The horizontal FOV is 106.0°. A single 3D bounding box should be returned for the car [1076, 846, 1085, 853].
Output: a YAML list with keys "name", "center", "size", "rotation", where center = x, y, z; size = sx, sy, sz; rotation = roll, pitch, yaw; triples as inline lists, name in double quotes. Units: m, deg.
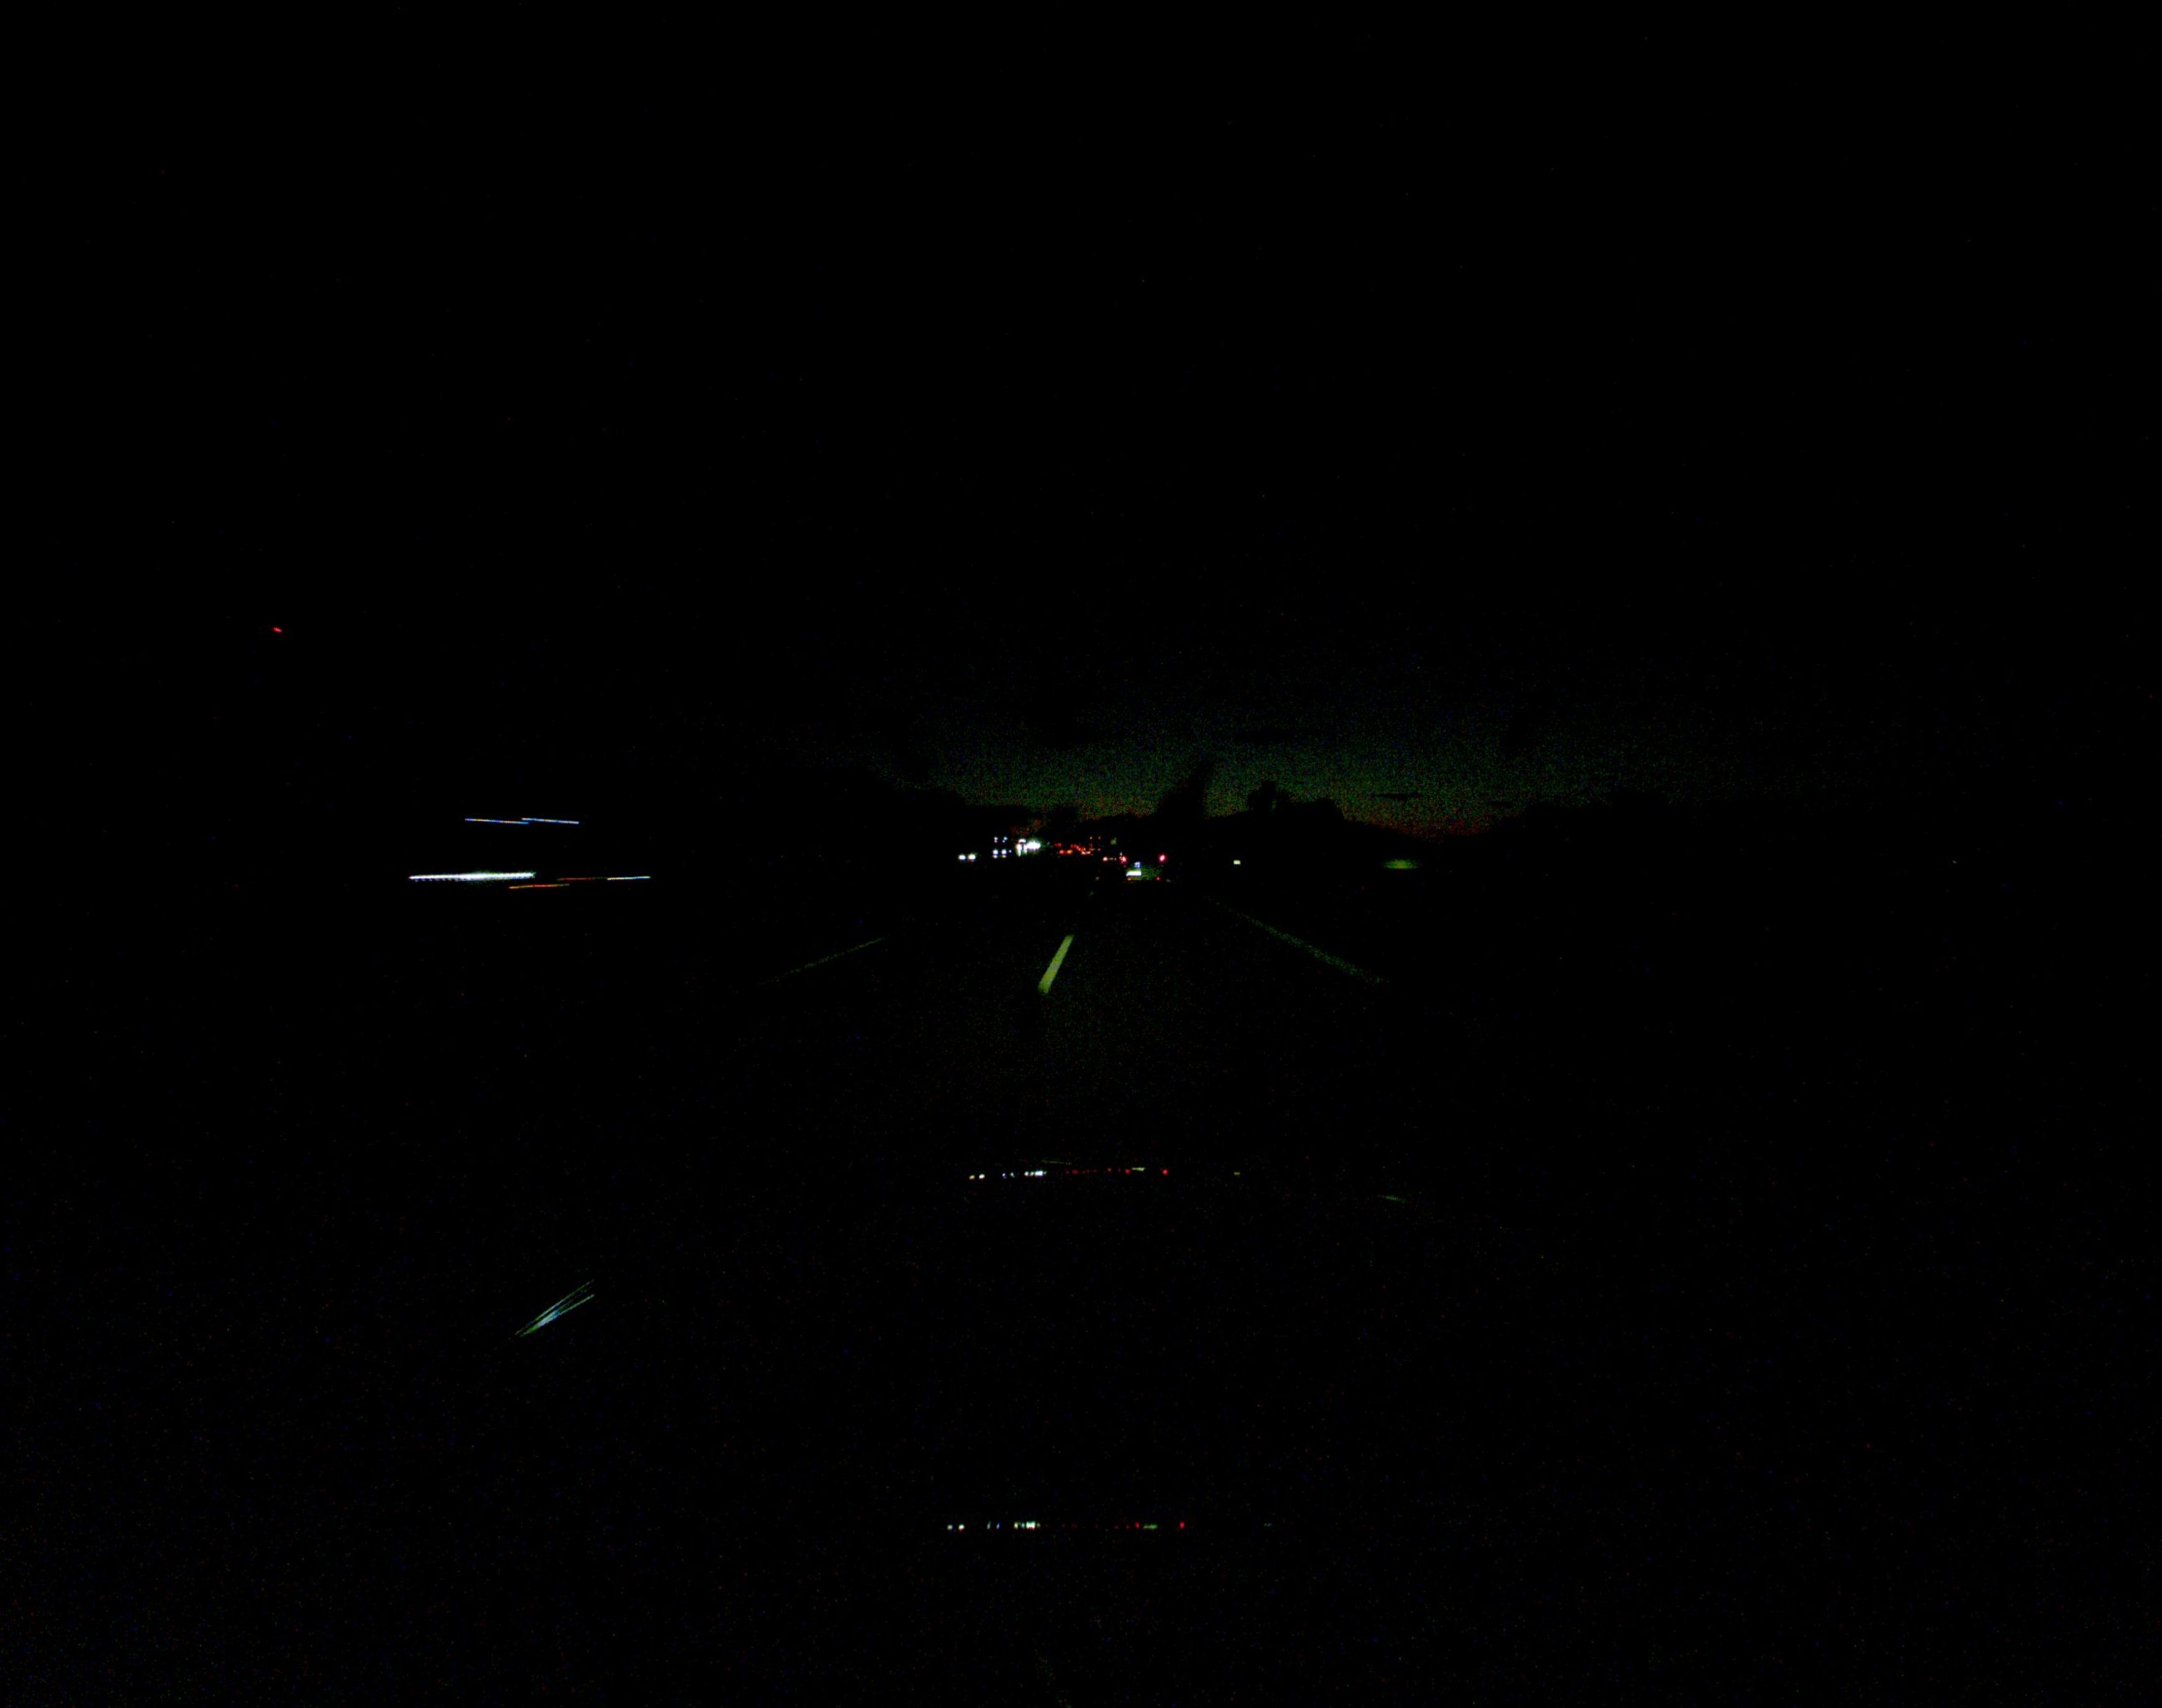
- name: "car"
  center: [-0.172, -1.204, 219.579]
  size: [1.989, 1.794, 3.994]
  rotation: [-1, -1, -4]

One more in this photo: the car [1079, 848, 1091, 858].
- name: "car"
  center: [0.831, -0.227, 165.290]
  size: [1.990, 1.794, 3.994]
  rotation: [-1, -1, -4]

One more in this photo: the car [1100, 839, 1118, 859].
- name: "car"
  center: [3.769, -0.739, 111.567]
  size: [2.027, 2.646, 5.720]
  rotation: [-1, 0, -2]

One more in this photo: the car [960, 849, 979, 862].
- name: "car"
  center: [-14.880, 0.242, 108.998]
  size: [1.816, 1.694, 4.674]
  rotation: [-1, -1, 1]

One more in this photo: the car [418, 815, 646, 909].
- name: "car"
  center: [-20.279, 0.213, 30.914]
  size: [2.640, 3.085, 8.222]
  rotation: [-1, 1, 3]

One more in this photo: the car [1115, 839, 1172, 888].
- name: "car"
  center: [2.698, 0.376, 36.630]
  size: [2.109, 2.000, 5.663]
  rotation: [-1, 1, 0]

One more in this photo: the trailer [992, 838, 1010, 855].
- name: "trailer"
  center: [-18.966, -1.828, 192.879]
  size: [3.419, 3.980, 7.352]
  rotation: [-1, 0, 0]

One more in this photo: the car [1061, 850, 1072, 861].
- name: "car"
  center: [-2.660, 0.299, 149.209]
  size: [1.987, 1.816, 3.999]
  rotation: [-1, -1, 0]

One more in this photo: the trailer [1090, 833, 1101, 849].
- name: "trailer"
  center: [4.128, -3.743, 239.586]
  size: [2.820, 4.257, 17.044]
  rotation: [-1, -1, 0]
